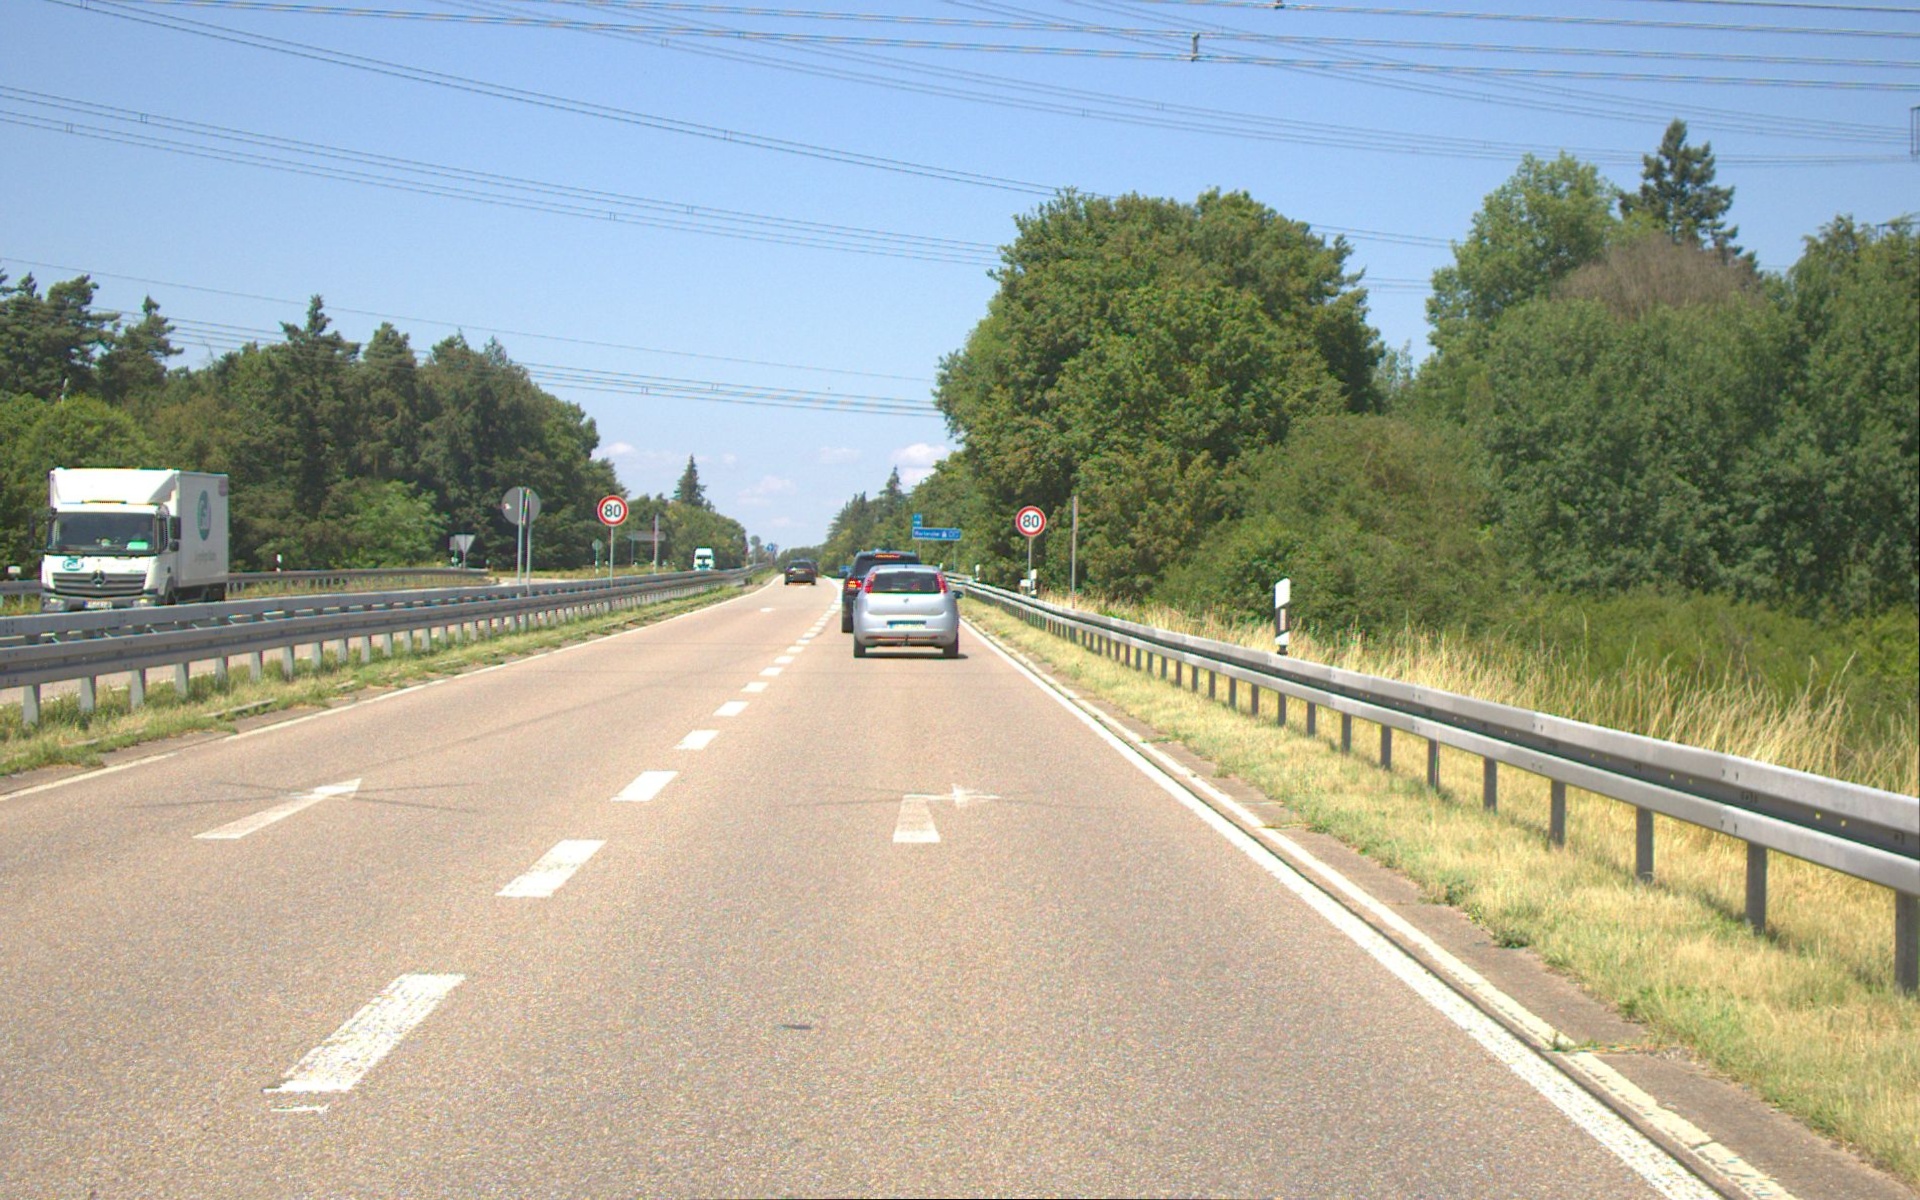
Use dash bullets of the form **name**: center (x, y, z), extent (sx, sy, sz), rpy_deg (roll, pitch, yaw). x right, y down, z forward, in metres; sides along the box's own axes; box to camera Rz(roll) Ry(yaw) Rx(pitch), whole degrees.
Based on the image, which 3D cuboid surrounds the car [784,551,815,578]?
- **car**: center (-9.310, -2.056, 199.973), extent (1.712, 1.466, 3.574), rpy_deg (3, 0, -2)

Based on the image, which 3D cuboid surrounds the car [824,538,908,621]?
- **car**: center (-2.037, -0.441, 73.696), extent (1.640, 1.648, 3.574), rpy_deg (3, 0, -3)

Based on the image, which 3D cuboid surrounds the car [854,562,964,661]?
- **car**: center (-0.830, 0.162, 55.066), extent (1.640, 1.463, 3.419), rpy_deg (3, 0, -1)

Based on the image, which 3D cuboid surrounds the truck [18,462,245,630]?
- **truck**: center (-16.668, -1.075, 69.753), extent (2.718, 3.182, 8.406), rpy_deg (0, 1, -1)
